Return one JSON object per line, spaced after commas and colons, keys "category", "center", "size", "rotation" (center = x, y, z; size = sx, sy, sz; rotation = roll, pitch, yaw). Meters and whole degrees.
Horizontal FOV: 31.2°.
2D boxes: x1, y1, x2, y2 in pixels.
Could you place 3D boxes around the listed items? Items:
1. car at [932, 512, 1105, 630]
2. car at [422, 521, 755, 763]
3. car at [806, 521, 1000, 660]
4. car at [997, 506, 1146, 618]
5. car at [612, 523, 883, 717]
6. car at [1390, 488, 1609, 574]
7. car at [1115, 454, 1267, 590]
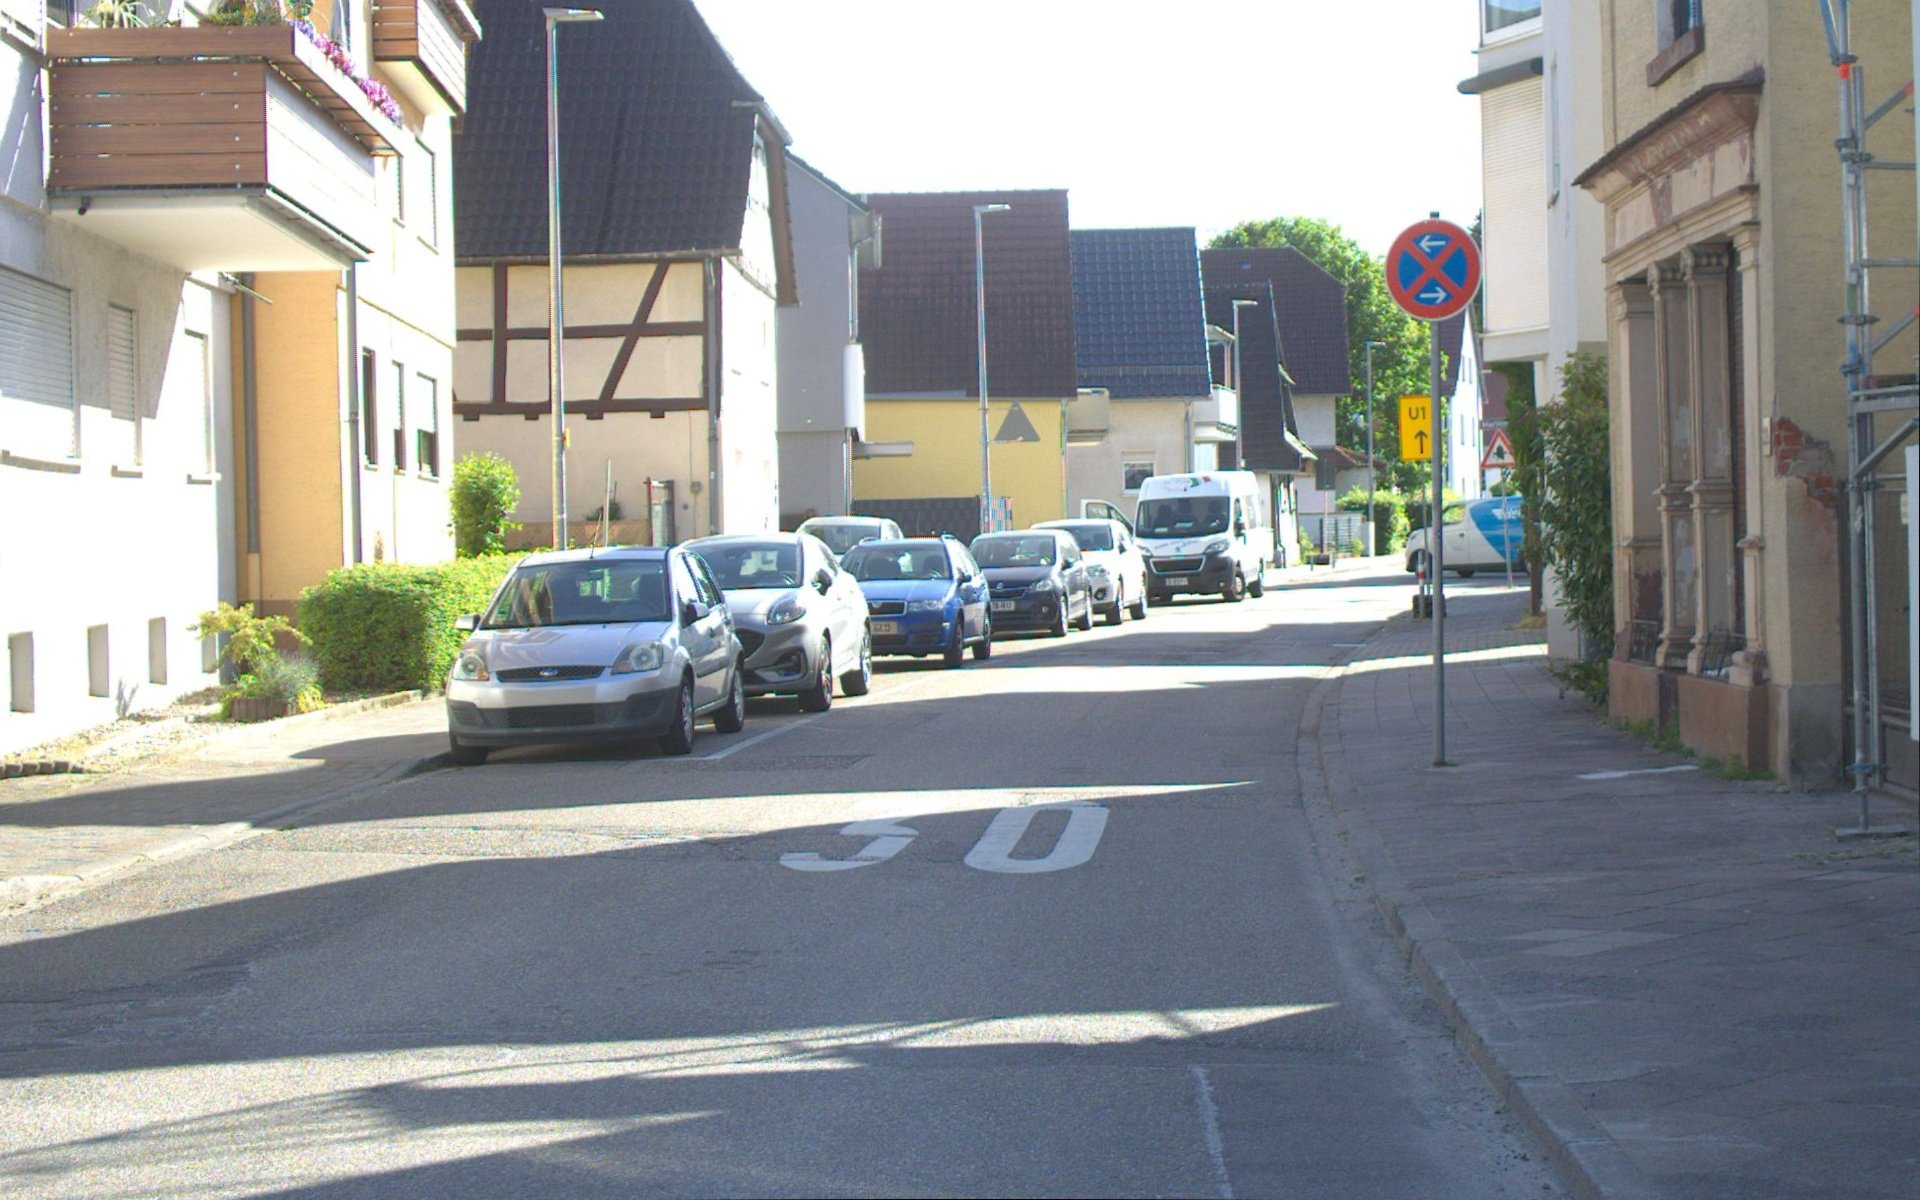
{"category": "car", "center": [0.870, -0.437, 48.507], "size": [1.704, 1.513, 4.120], "rotation": [-3, 1, 11]}
{"category": "car", "center": [-2.611, 0.240, 25.005], "size": [1.631, 1.500, 3.852], "rotation": [-4, 1, 5]}
{"category": "car", "center": [-0.591, -0.141, 38.923], "size": [1.639, 1.436, 4.074], "rotation": [-2, 1, 6]}
{"category": "car", "center": [1.749, -0.608, 52.701], "size": [1.674, 1.566, 3.964], "rotation": [-3, 1, 10]}
{"category": "car", "center": [-1.789, 0.124, 30.185], "size": [1.674, 1.500, 4.094], "rotation": [-2, 1, 6]}
{"category": "car", "center": [12.634, -1.610, 80.717], "size": [4.776, 1.795, 1.922], "rotation": [-1, 3, 44]}
{"category": "car", "center": [4.446, -1.492, 65.342], "size": [2.078, 2.386, 5.206], "rotation": [-3, 1, 12]}
